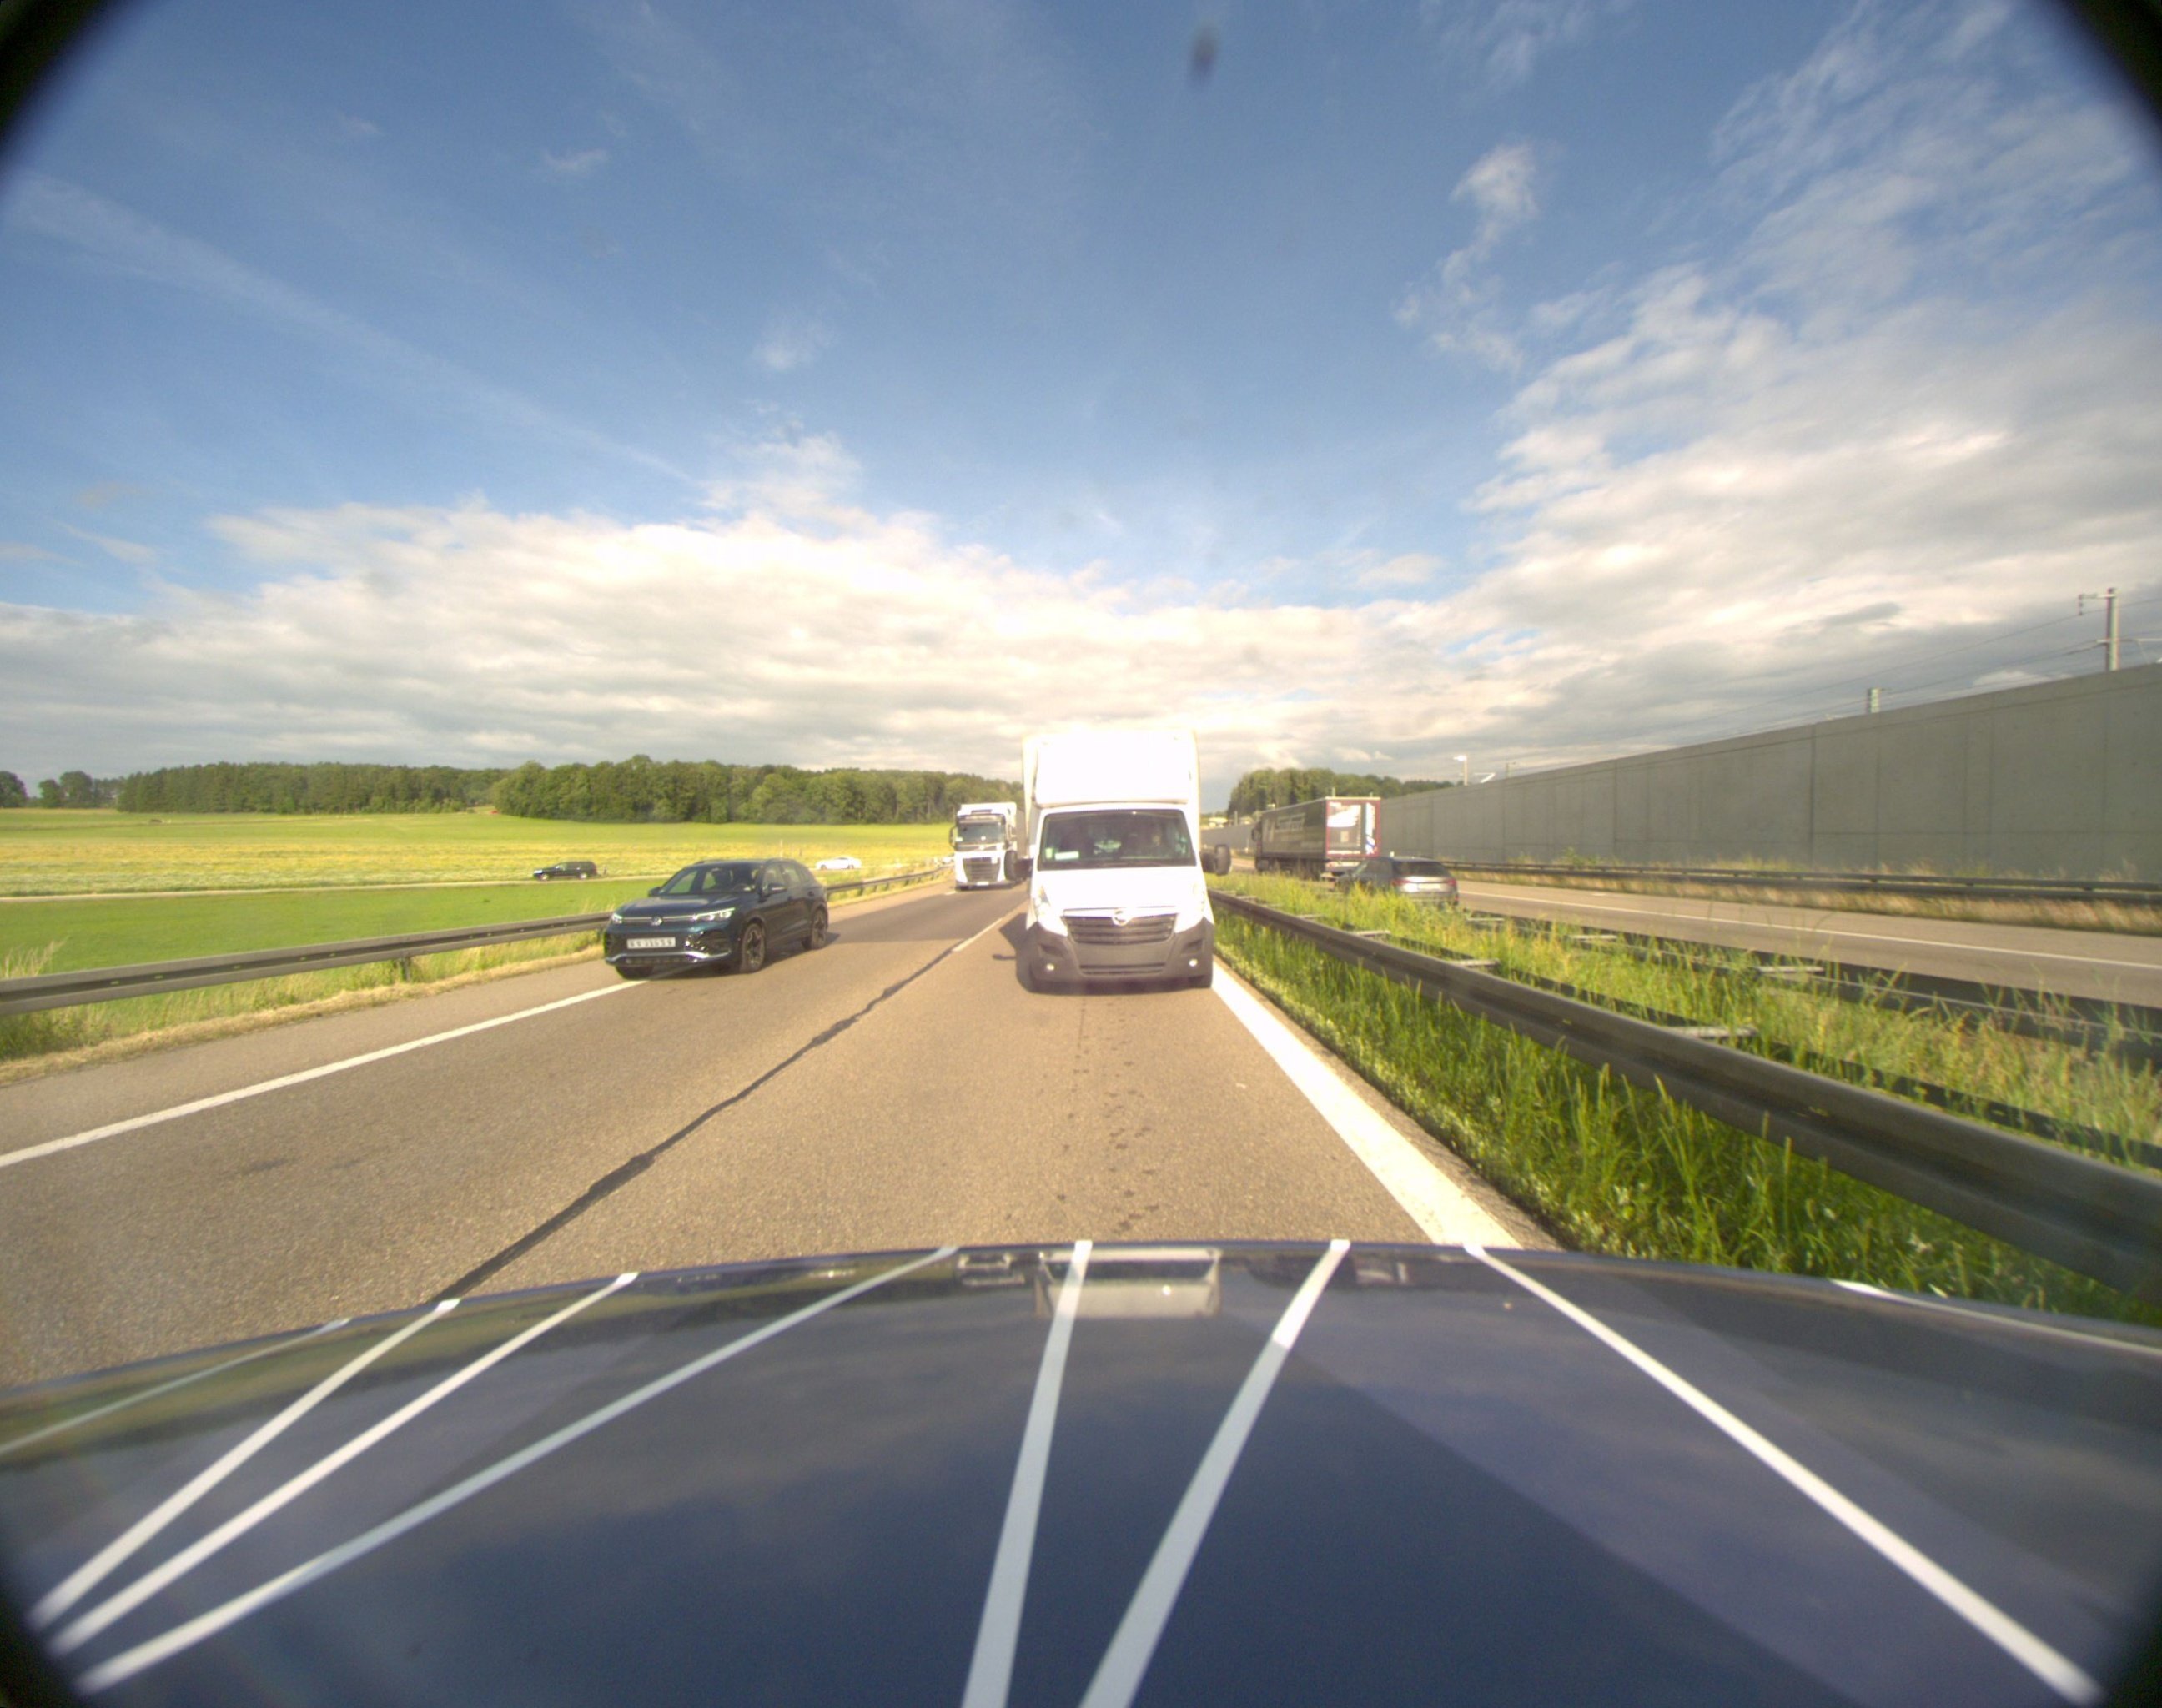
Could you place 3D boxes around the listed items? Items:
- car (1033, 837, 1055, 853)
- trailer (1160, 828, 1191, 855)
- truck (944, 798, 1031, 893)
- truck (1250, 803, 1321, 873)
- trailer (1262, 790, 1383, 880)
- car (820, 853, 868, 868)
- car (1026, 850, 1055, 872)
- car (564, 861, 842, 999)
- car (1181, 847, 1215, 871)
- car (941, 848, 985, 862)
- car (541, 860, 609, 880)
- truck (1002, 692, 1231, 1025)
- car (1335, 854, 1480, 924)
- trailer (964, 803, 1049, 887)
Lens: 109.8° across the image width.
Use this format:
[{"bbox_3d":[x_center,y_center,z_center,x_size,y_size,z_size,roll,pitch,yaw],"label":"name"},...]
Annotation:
[{"bbox_3d":[-3.922,-0.990,81.914,1.998,1.647,4.000,-2,1,2],"label":"car"},{"bbox_3d":[13.912,-1.880,112.773,2.547,3.749,12.536,0,1,-2],"label":"trailer"},{"bbox_3d":[-4.226,-0.426,35.887,2.842,3.967,6.501,-2,1,3],"label":"truck"},{"bbox_3d":[12.894,-1.001,48.575,2.760,4.067,6.952,-2,1,2],"label":"truck"},{"bbox_3d":[12.718,-0.992,41.642,2.766,4.091,12.903,-2,1,2],"label":"trailer"},{"bbox_3d":[-26.935,0.723,86.526,5.084,1.537,1.997,-3,1,-17],"label":"car"},{"bbox_3d":[-3.397,0.583,63.857,1.998,1.647,4.000,-2,1,2],"label":"car"},{"bbox_3d":[-5.460,0.991,11.717,1.998,1.587,4.119,-2,1,3],"label":"car"},{"bbox_3d":[8.888,0.330,58.124,1.893,1.622,5.110,-2,1,1],"label":"car"},{"bbox_3d":[-14.972,0.110,96.472,5.087,1.537,1.996,-3,1,-27],"label":"car"},{"bbox_3d":[-48.056,1.495,72.215,5.130,1.548,1.995,-3,1,-39],"label":"car"},{"bbox_3d":[0.534,-0.008,11.088,2.059,3.088,7.804,-2,1,3],"label":"truck"},{"bbox_3d":[8.074,0.785,19.259,1.907,1.455,4.183,-2,1,1],"label":"car"},{"bbox_3d":[-3.866,-0.543,42.873,2.826,3.959,12.128,-2,1,3],"label":"trailer"}]
